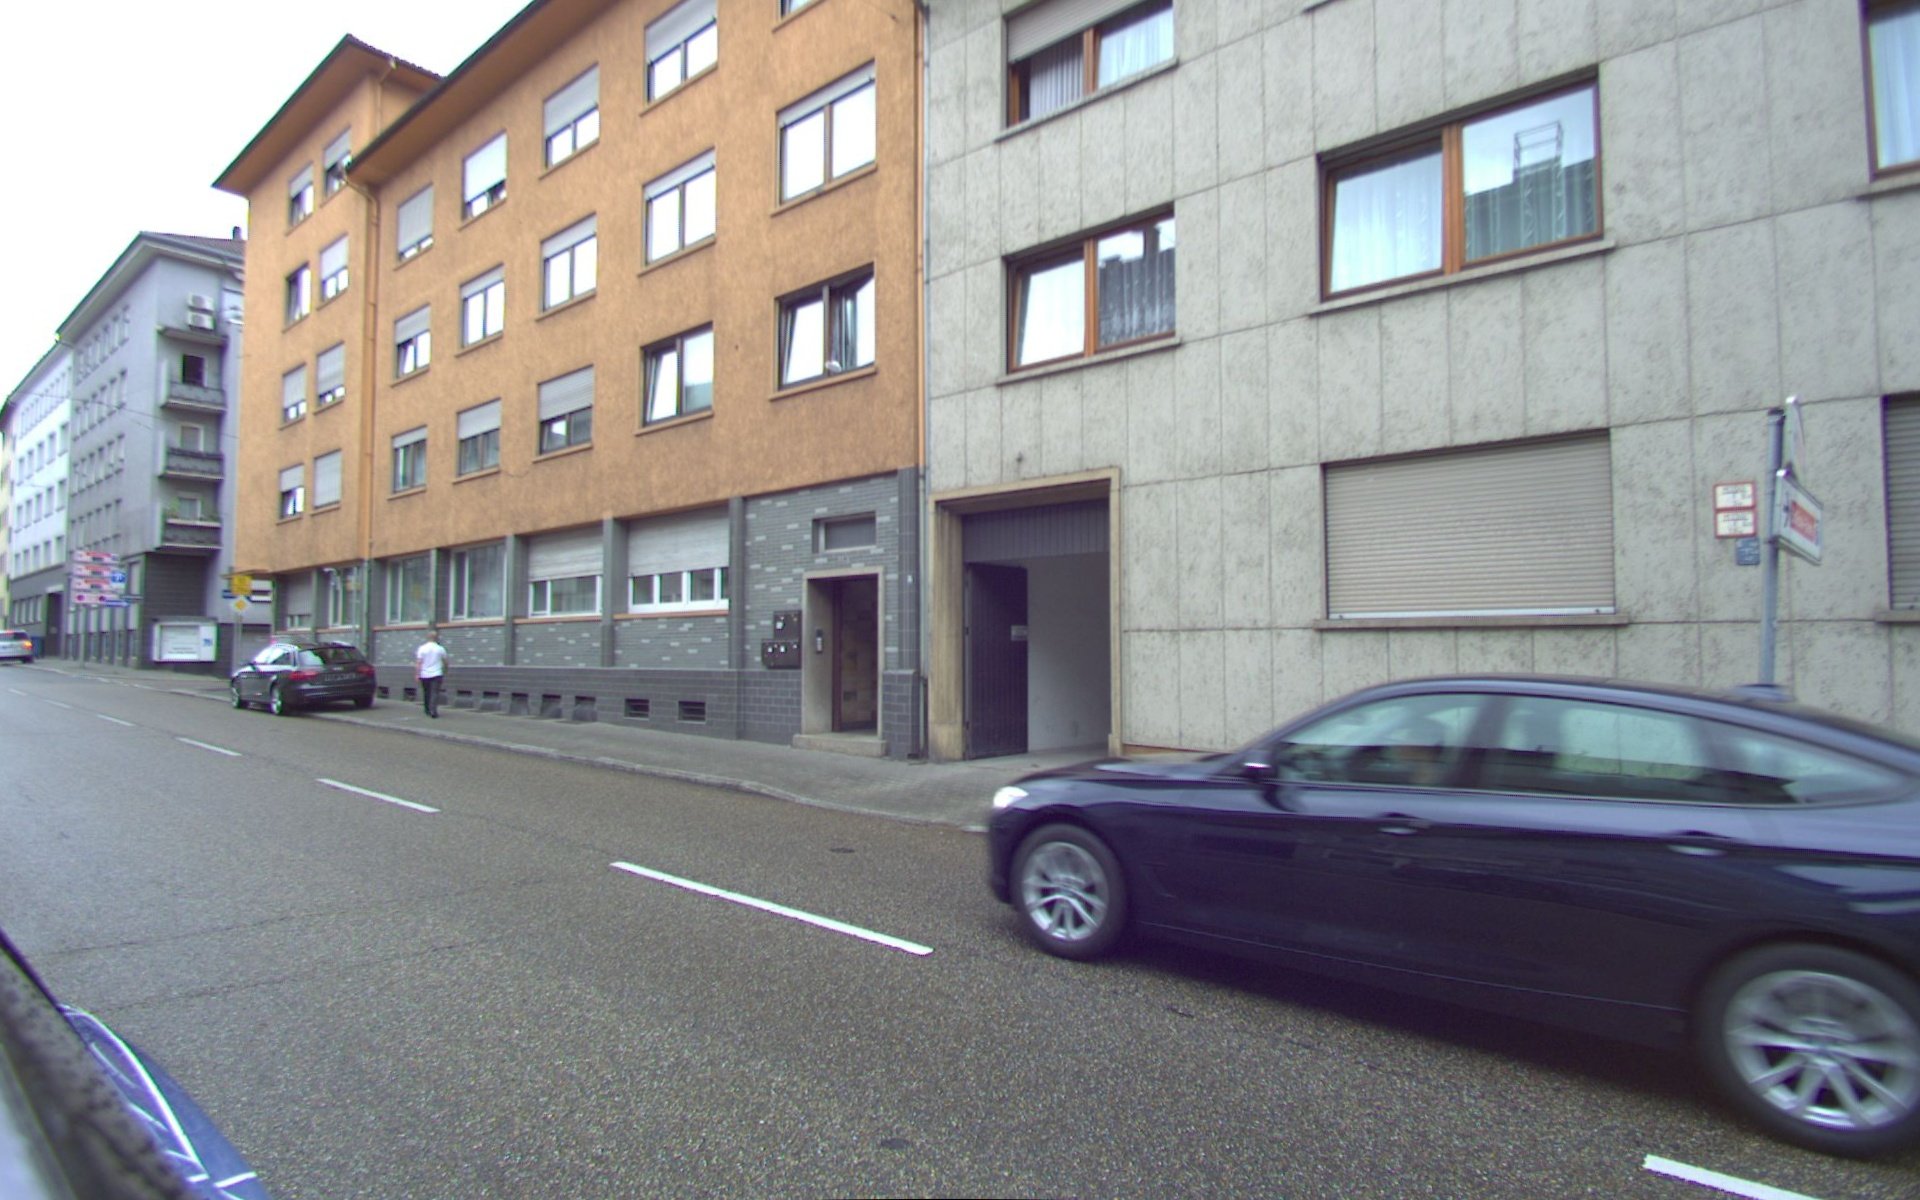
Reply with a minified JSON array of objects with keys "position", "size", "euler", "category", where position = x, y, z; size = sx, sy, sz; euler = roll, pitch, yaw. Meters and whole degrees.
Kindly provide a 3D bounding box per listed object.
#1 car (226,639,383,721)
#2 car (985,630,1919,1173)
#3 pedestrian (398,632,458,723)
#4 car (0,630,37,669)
[{"position":[-14.256,1.654,21.938],"size":[4.216,1.485,1.776],"euler":[-1,0,41],"category":"car"},{"position":[2.394,1.006,4.515],"size":[4.433,1.551,1.677],"euler":[-1,-7,40],"category":"car"},{"position":[-10.239,1.462,19.472],"size":[0.757,1.652,1.024],"euler":[-1,0,-44],"category":"pedestrian"},{"position":[-46.484,2.381,49.273],"size":[4.216,1.735,1.832],"euler":[-1,0,41],"category":"car"}]
